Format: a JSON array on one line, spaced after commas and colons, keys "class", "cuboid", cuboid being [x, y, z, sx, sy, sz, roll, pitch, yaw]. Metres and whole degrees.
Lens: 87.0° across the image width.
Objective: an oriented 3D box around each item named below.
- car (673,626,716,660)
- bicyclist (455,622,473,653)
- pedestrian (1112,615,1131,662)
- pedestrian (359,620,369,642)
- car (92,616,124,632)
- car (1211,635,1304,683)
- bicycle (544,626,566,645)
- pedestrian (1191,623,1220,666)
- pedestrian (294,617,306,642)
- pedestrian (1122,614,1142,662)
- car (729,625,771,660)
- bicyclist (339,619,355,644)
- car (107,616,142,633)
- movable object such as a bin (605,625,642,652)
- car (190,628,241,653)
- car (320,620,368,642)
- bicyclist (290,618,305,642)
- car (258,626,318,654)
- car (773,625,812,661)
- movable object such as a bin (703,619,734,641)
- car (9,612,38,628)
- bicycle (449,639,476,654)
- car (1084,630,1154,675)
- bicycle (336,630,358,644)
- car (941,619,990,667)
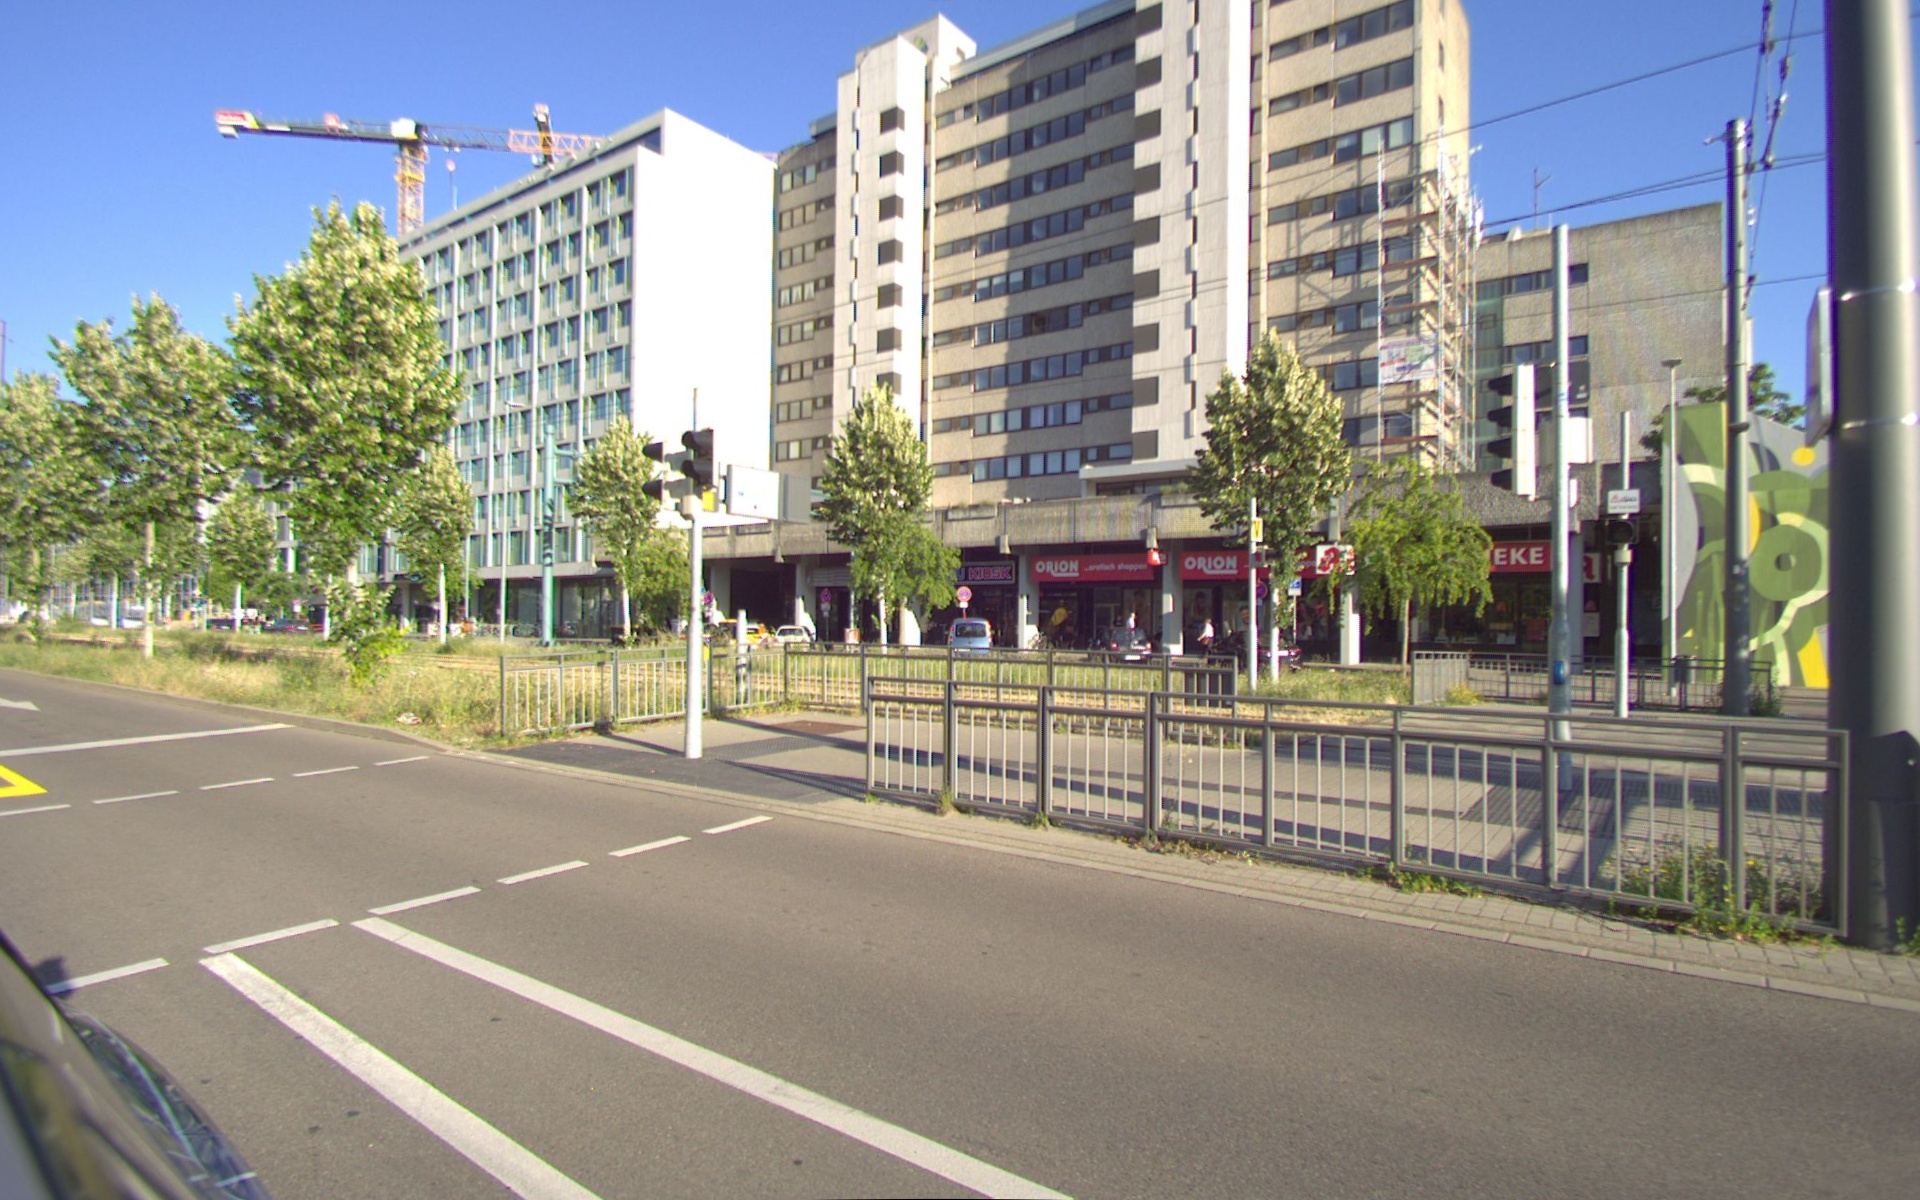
[{"class": "car", "cuboid": [-13.064, 2.082, 50.011, 1.595, 1.455, 4.556, 0, 0, -9]}, {"class": "bicyclist", "cuboid": [-28.621, 2.144, 58.407, 0.917, 1.758, 0.552, -1, -2, 35]}, {"class": "pedestrian", "cuboid": [7.075, 1.669, 44.401, 0.653, 2.029, 0.542, -1, -2, 36]}, {"class": "pedestrian", "cuboid": [-45.835, 2.365, 77.842, 0.596, 1.648, 0.473, -1, -2, 37]}, {"class": "car", "cuboid": [-89.982, 2.514, 106.824, 3.477, 1.603, 1.852, 0, 0, 37]}, {"class": "car", "cuboid": [9.469, 1.850, 32.439, 1.596, 1.283, 3.472, 0, 0, -7]}, {"class": "bicycle", "cuboid": [-27.971, 2.440, 69.844, 1.711, 1.239, 0.391, 0, -2, 28]}, {"class": "pedestrian", "cuboid": [9.590, 1.718, 39.557, 0.881, 1.652, 0.767, -1, -2, 36]}, {"class": "pedestrian", "cuboid": [-54.502, 2.411, 83.584, 0.725, 2.029, 0.614, -1, -2, 37]}, {"class": "pedestrian", "cuboid": [7.261, 1.596, 42.735, 0.653, 2.029, 0.542, -1, -2, 36]}, {"class": "car", "cuboid": [-9.879, 1.972, 47.829, 1.761, 1.455, 3.809, 0, 0, -9]}, {"class": "bicyclist", "cuboid": [-41.430, 2.108, 68.407, 0.917, 1.669, 0.533, -1, -2, 35]}, {"class": "car", "cuboid": [-74.580, 2.175, 90.304, 3.873, 1.388, 1.594, 0, 0, 37]}, {"class": "movable object such as a bin", "cuboid": [-17.439, 2.007, 52.495, 1.169, 1.382, 1.374, -1, -2, 35]}, {"class": "car", "cuboid": [-55.199, 2.965, 75.014, 4.481, 1.715, 1.852, 0, 0, 37]}, {"class": "car", "cuboid": [-44.491, 2.212, 73.055, 3.384, 1.477, 1.852, 0, 0, 37]}, {"class": "bicyclist", "cuboid": [-46.354, 2.087, 70.782, 0.917, 1.669, 0.533, -1, -2, 36]}, {"class": "car", "cuboid": [-43.454, 2.551, 65.418, 4.631, 1.600, 1.852, 0, 0, 37]}, {"class": "car", "cuboid": [-7.643, 1.917, 46.299, 1.596, 1.455, 3.799, 0, 0, -7]}, {"class": "movable object such as a bin", "cuboid": [-15.069, 1.855, 63.155, 1.231, 1.344, 1.374, -1, -2, 35]}, {"class": "car", "cuboid": [-108.693, 2.324, 117.429, 3.786, 1.765, 1.852, 0, 0, 37]}, {"class": "bicycle", "cuboid": [-28.742, 2.684, 58.466, 2.098, 0.869, 0.432, -1, -2, 35]}, {"class": "car", "cuboid": [5.749, 1.875, 36.886, 1.596, 1.412, 3.472, 0, 0, -7]}, {"class": "bicycle", "cuboid": [-41.453, 2.501, 68.424, 2.098, 0.869, 0.432, -1, -2, 35]}, {"class": "car", "cuboid": [0.177, 1.672, 40.350, 1.597, 1.703, 4.201, 0, 0, -4]}]
